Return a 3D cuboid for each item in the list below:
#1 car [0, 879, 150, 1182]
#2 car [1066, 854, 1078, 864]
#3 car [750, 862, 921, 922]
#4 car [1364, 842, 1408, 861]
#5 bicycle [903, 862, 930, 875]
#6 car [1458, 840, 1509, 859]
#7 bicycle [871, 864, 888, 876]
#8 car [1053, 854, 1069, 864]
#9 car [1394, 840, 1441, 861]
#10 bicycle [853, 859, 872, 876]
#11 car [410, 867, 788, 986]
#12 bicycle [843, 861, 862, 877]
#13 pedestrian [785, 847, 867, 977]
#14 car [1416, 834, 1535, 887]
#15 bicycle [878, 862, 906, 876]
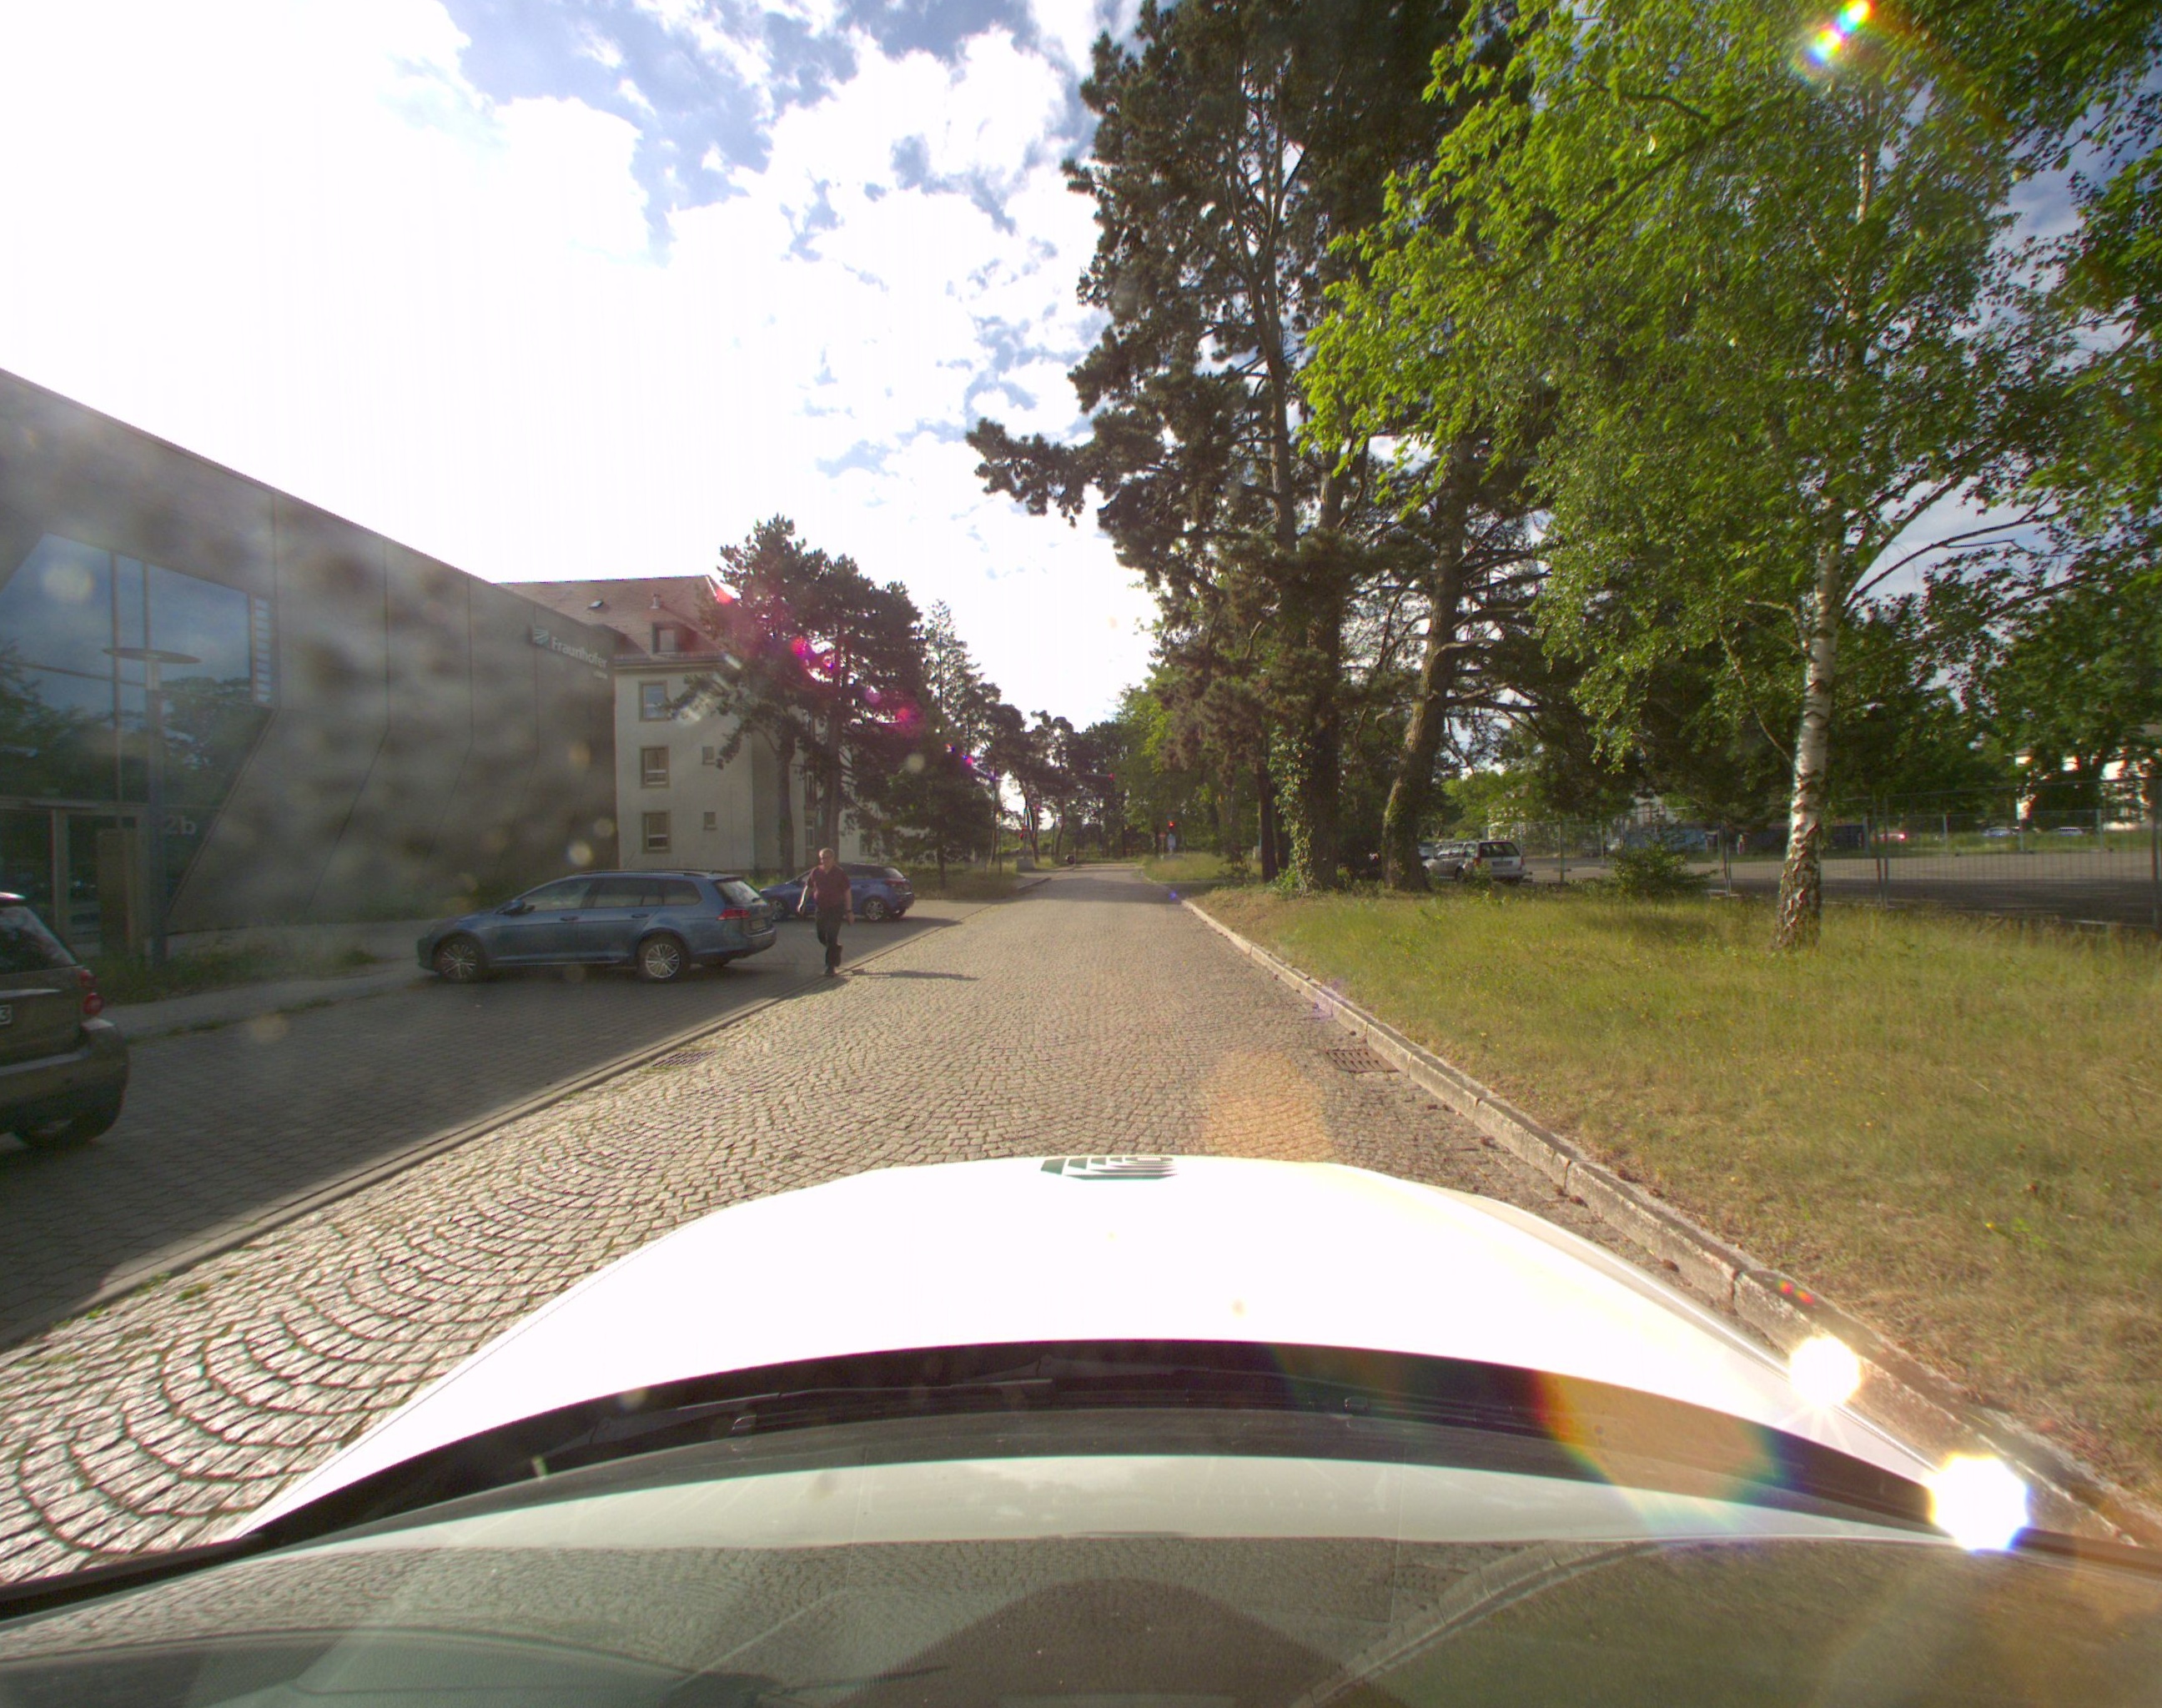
[{"bbox_3d":[-6.917,0.924,4.102,2.689,1.542,1.519,0,0,1],"label":"car"},{"bbox_3d":[-1.358,0.746,127.190,1.839,1.486,3.999,-2,0,0],"label":"car"},{"bbox_3d":[-6.257,0.941,21.017,3.819,1.464,1.721,0,0,3],"label":"car"},{"bbox_3d":[23.468,-0.187,62.803,1.726,1.312,4.329,-2,0,-1],"label":"car"},{"bbox_3d":[-14.099,1.228,69.972,2.111,1.047,0.828,-2,0,-2],"label":"bicycle"},{"bbox_3d":[31.351,-0.350,63.515,1.726,1.312,4.329,-2,0,-1],"label":"car"},{"bbox_3d":[-17.624,1.392,71.209,0.823,1.047,2.125,-2,0,2],"label":"bicycle"},{"bbox_3d":[-3.238,0.786,131.977,1.772,1.490,3.765,-2,0,9],"label":"car"},{"bbox_3d":[25.991,-0.273,63.053,1.726,1.476,4.329,-2,0,-1],"label":"car"},{"bbox_3d":[-19.189,1.198,71.543,0.823,1.437,2.555,-2,0,2],"label":"bicycle"},{"bbox_3d":[-6.548,0.959,11.425,4.244,1.464,1.680,0,2,-1],"label":"car"},{"bbox_3d":[-19.969,1.296,71.259,0.823,1.281,2.555,-2,0,2],"label":"bicycle"},{"bbox_3d":[-3.688,0.805,11.859,0.802,1.771,1.152,-2,0,-2],"label":"pedestrian"},{"bbox_3d":[12.164,0.198,25.408,1.663,1.467,3.997,-2,0,-2],"label":"car"},{"bbox_3d":[-16.221,1.249,69.925,2.111,1.108,0.828,-2,0,-2],"label":"bicycle"}]
